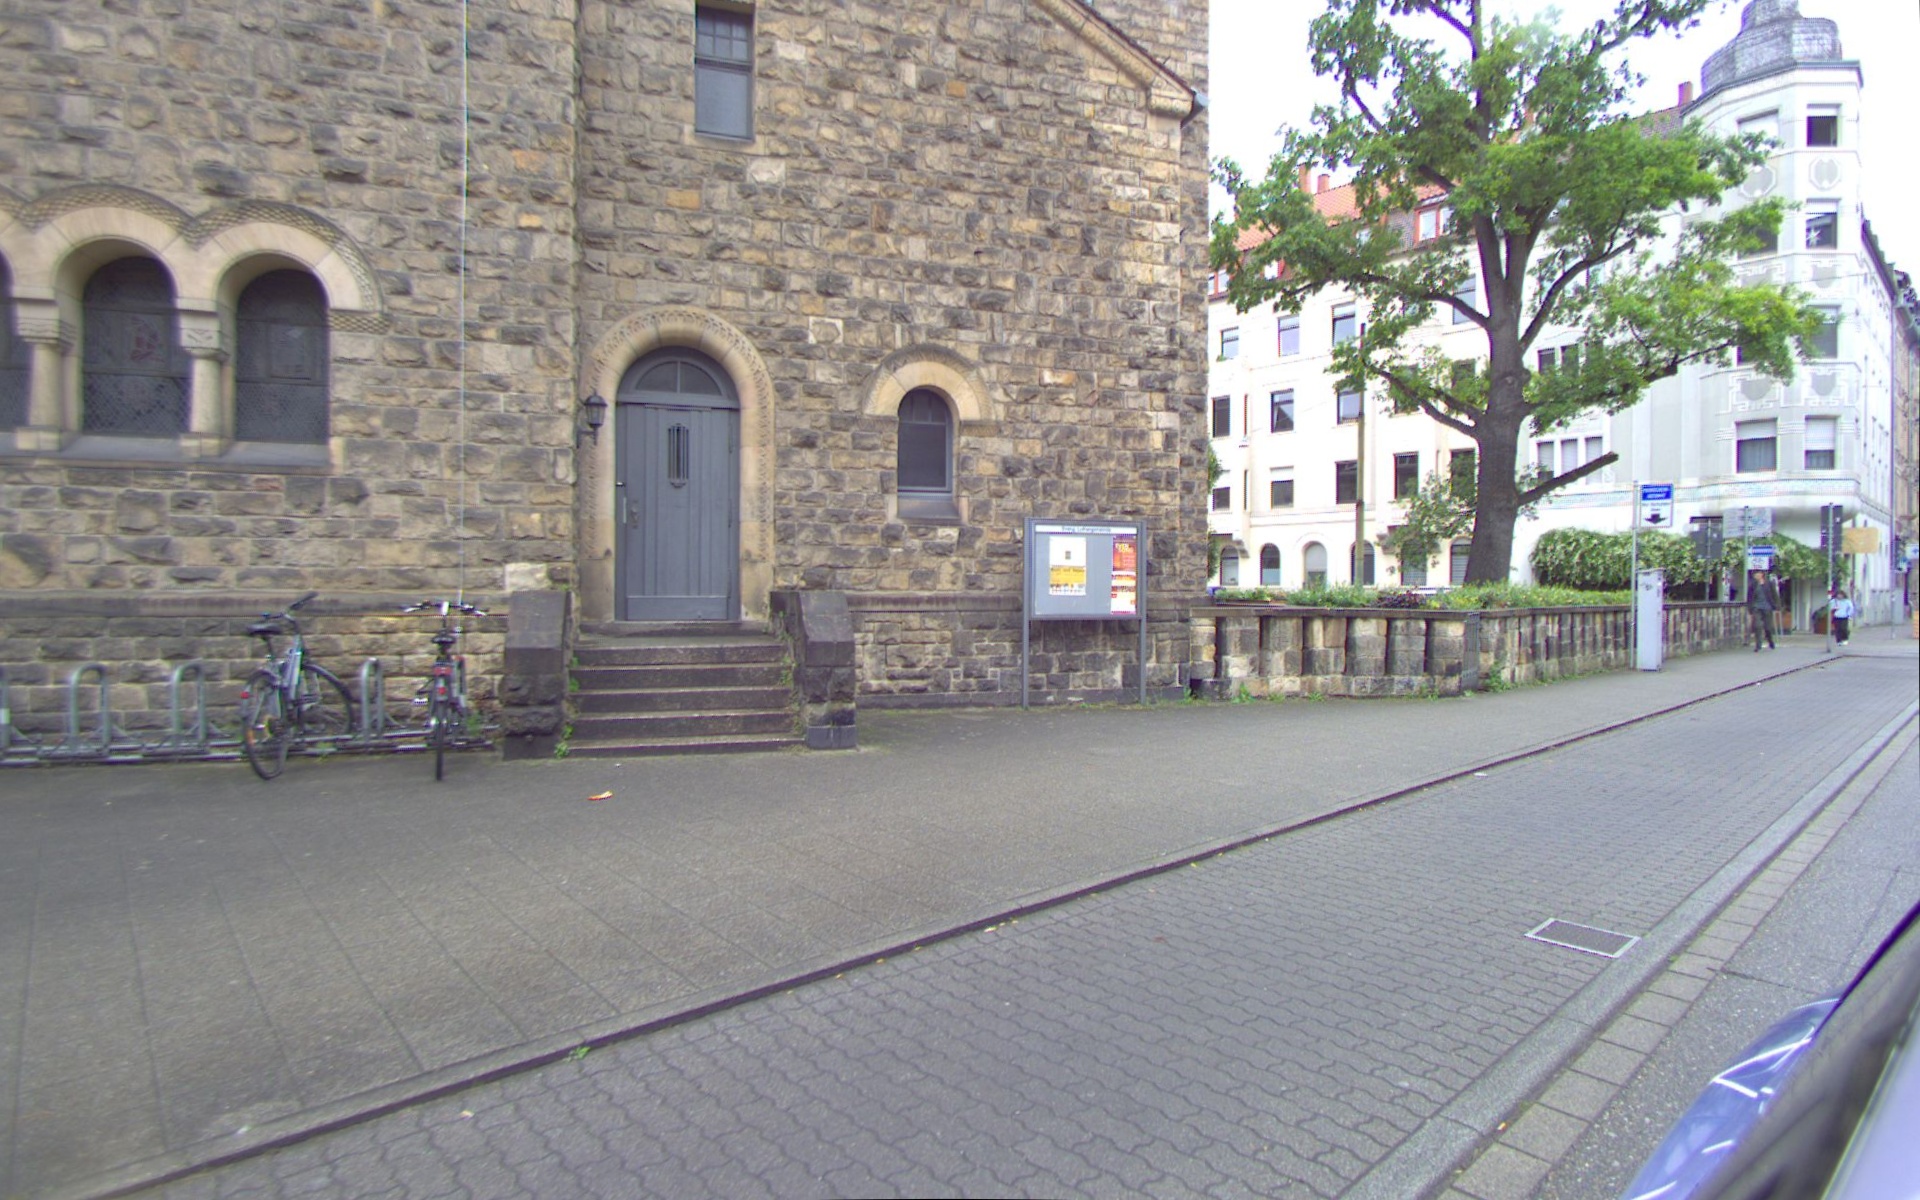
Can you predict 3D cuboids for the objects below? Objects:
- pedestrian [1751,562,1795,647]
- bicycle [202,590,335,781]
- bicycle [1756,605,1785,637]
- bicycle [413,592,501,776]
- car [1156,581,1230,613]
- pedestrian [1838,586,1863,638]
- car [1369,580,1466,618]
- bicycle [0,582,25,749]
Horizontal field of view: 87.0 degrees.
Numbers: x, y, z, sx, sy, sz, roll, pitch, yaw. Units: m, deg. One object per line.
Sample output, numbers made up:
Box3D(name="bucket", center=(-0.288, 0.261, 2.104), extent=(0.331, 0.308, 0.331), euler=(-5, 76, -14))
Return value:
Box3D(name="pedestrian", center=(18.534, 0.082, 23.069), extent=(0.681, 1.896, 0.645), euler=(0, 1, -42))
Box3D(name="bicycle", center=(-4.857, 0.525, 7.195), extent=(0.550, 1.125, 1.717), euler=(0, 3, -27))
Box3D(name="bicycle", center=(25.813, 0.652, 32.225), extent=(1.990, 0.904, 0.390), euler=(-3, 3, -42))
Box3D(name="bicycle", center=(-3.642, 0.519, 7.328), extent=(0.502, 1.067, 1.994), euler=(0, 3, -27))
Box3D(name="car", center=(11.165, -0.167, 48.677), extent=(1.421, 1.427, 3.271), euler=(0, 2, -38))
Box3D(name="pedestrian", center=(25.508, 0.340, 28.996), extent=(0.385, 1.479, 0.481), euler=(0, 1, -42))
Box3D(name="car", center=(18.530, -0.075, 41.066), extent=(1.421, 1.427, 3.271), euler=(0, 2, -38))
Box3D(name="bicycle", center=(-6.586, 0.478, 6.288), extent=(0.677, 1.118, 1.994), euler=(0, 3, -29))
